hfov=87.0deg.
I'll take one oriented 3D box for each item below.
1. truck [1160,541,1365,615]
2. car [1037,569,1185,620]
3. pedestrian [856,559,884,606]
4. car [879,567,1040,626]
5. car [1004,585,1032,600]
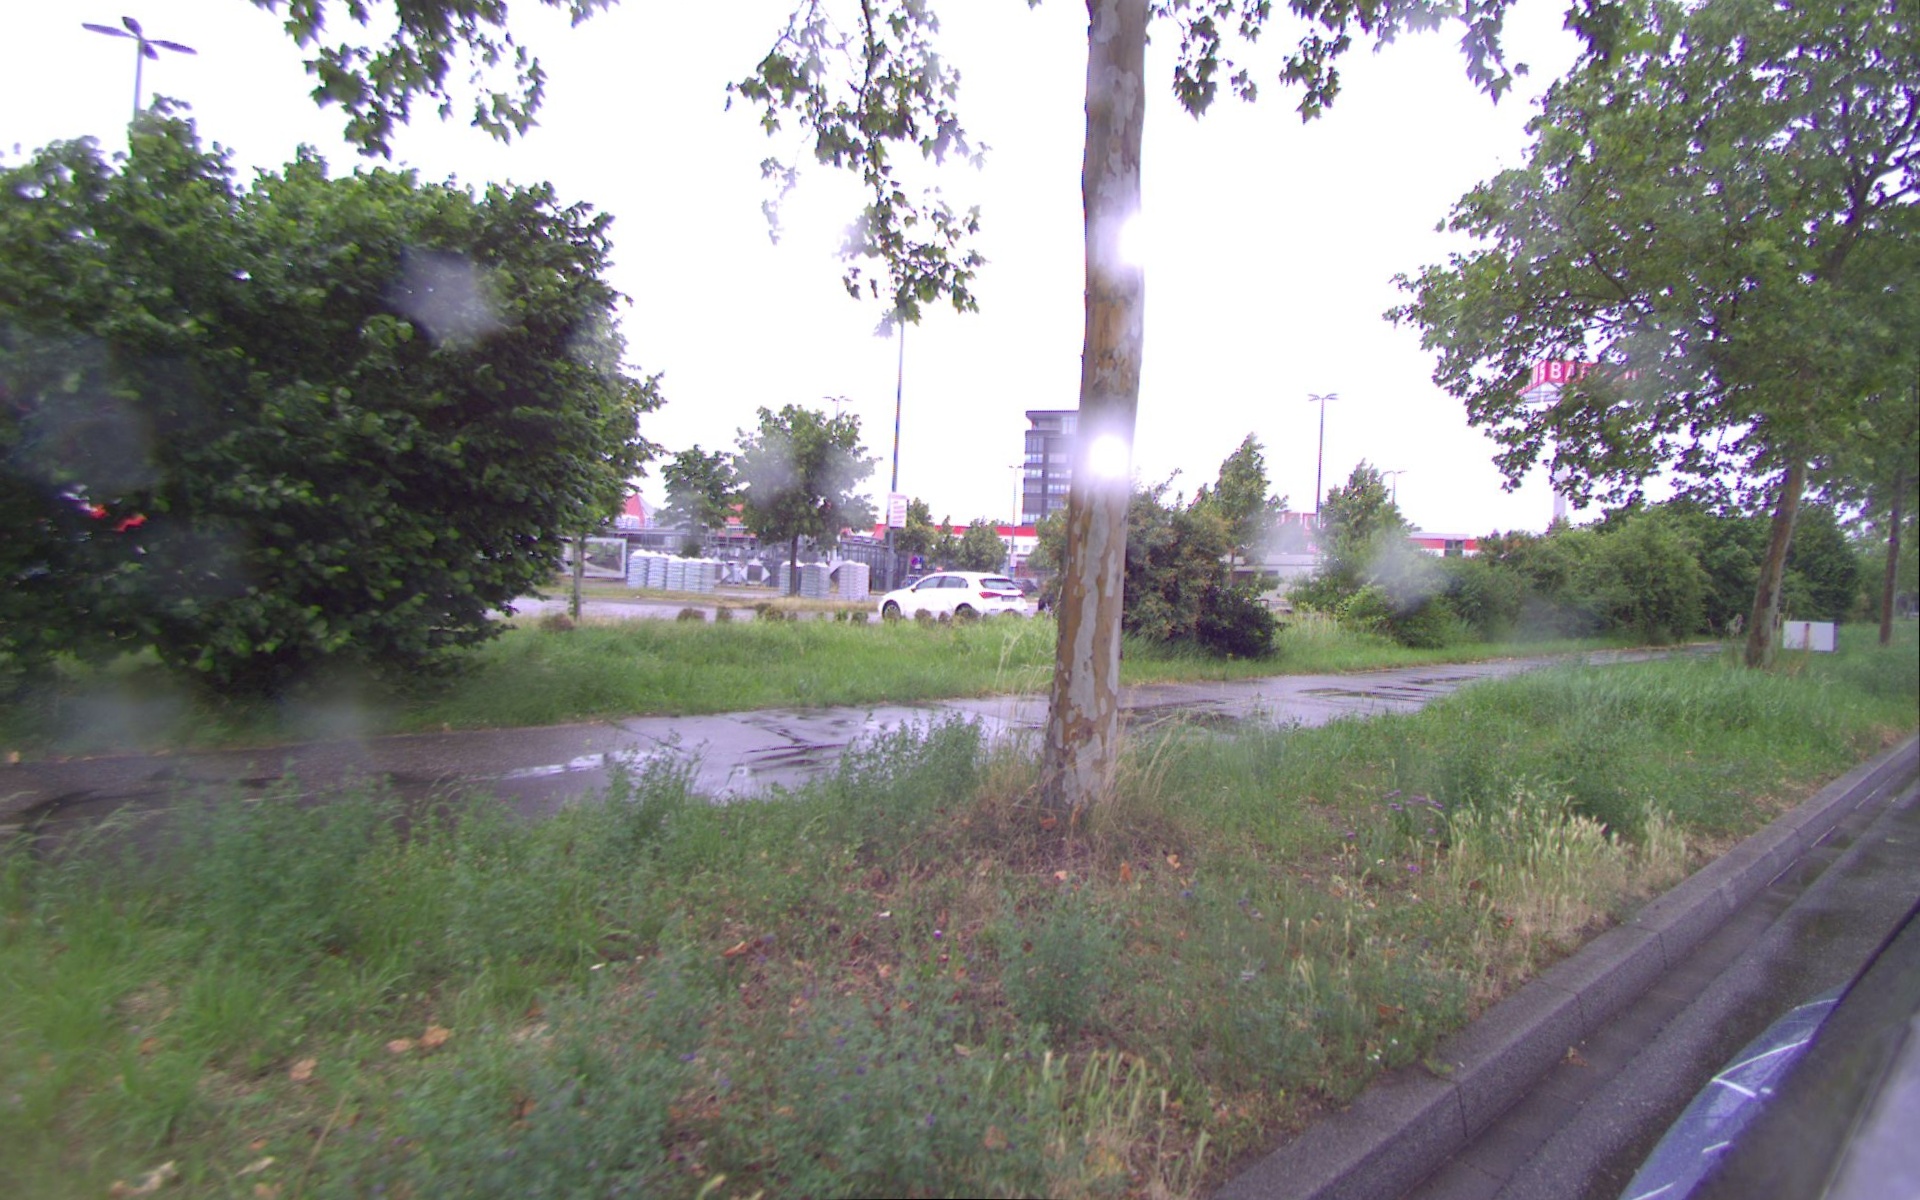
[{"bbox_3d":[10.303,-0.758,34.939,6.530,2.333,2.186,1,1,43],"label":"truck"},{"bbox_3d":[4.402,-0.192,29.845,1.967,1.382,3.990,-1,1,-44],"label":"car"},{"bbox_3d":[-3.523,-0.688,39.544,0.786,1.810,0.702,1,1,-45],"label":"pedestrian"},{"bbox_3d":[-0.074,-0.115,25.528,1.838,1.382,3.990,-1,1,-44],"label":"car"},{"bbox_3d":[5.455,-0.687,94.249,1.834,1.373,3.857,1,1,15],"label":"car"}]
